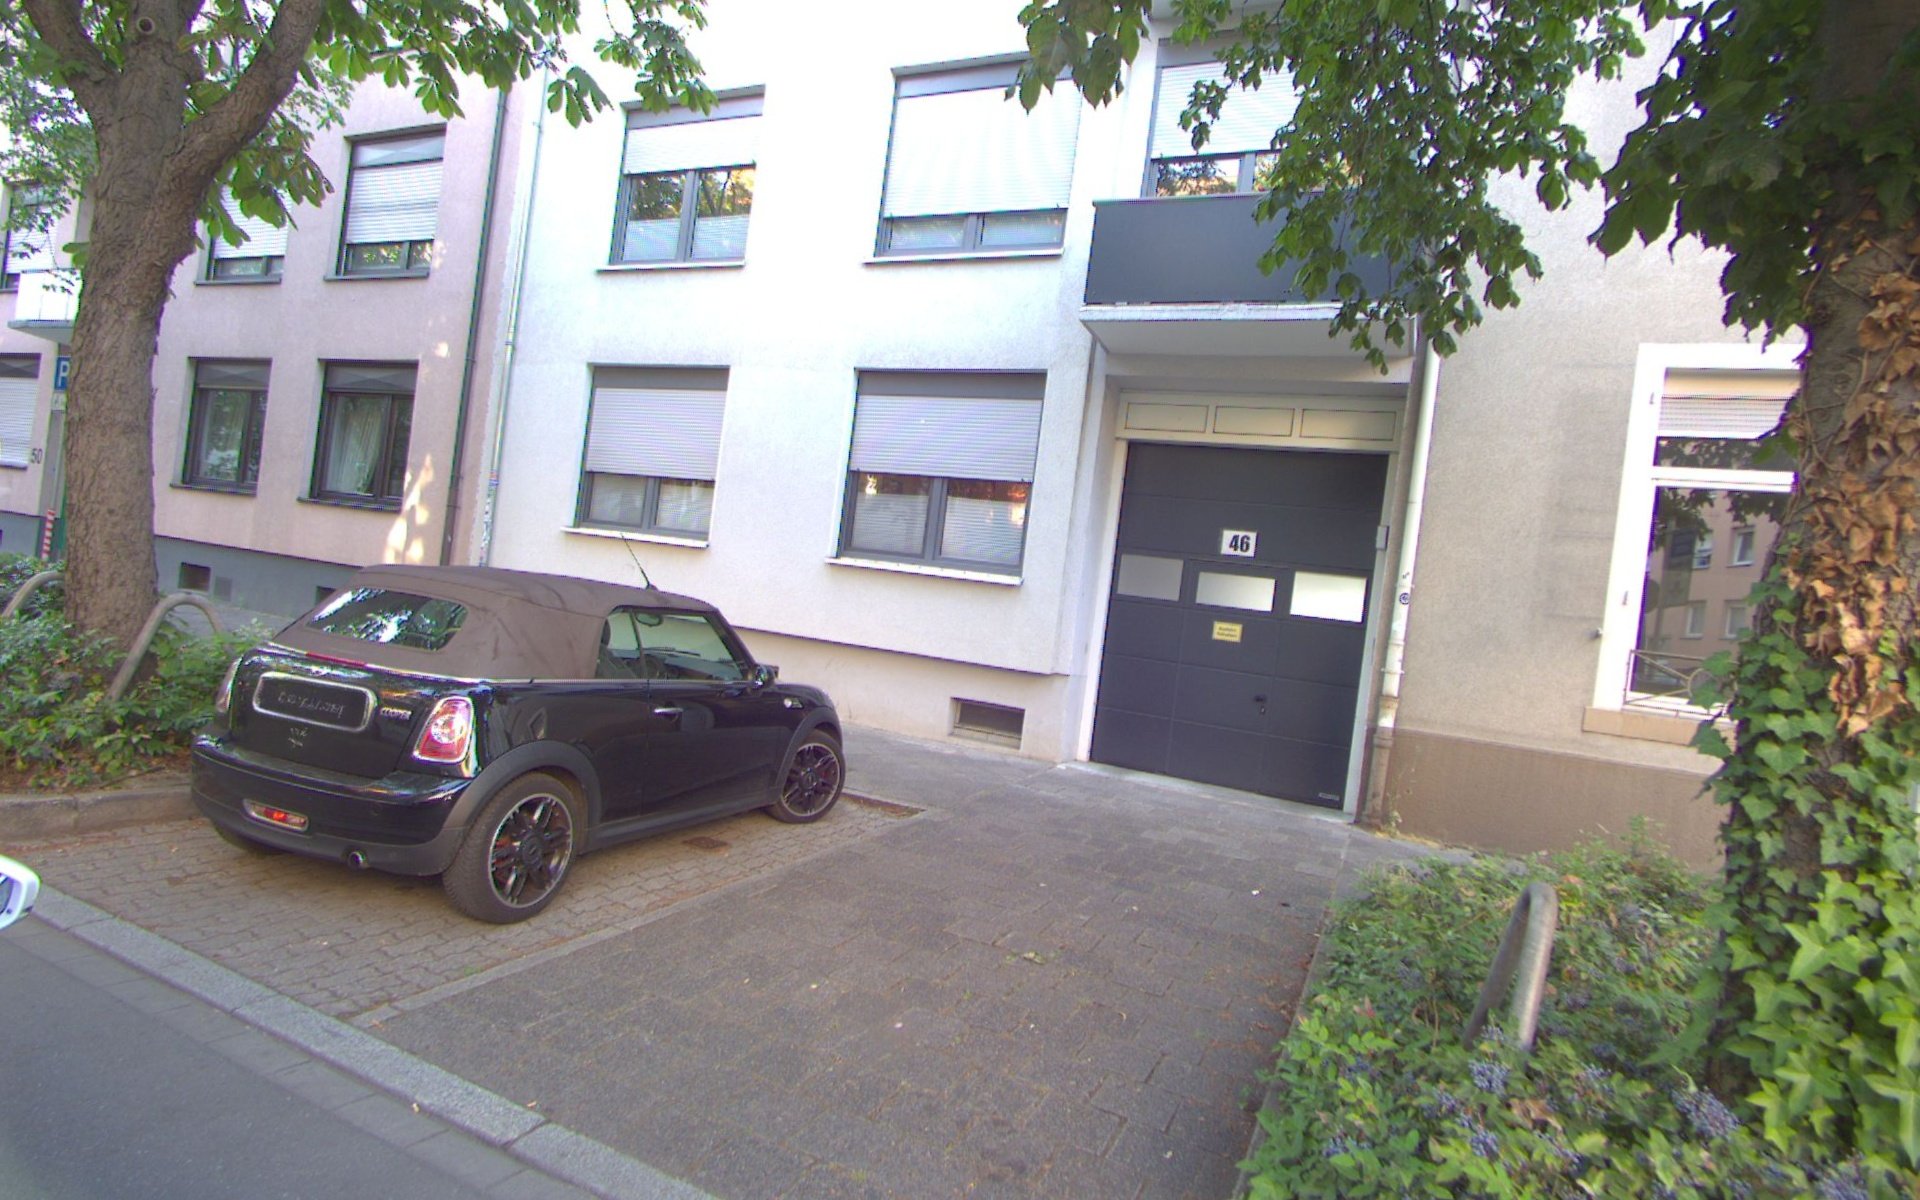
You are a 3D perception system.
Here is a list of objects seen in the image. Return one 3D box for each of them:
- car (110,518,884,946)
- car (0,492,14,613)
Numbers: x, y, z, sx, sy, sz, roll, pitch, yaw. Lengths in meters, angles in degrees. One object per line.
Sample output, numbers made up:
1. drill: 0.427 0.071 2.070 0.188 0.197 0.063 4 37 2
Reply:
1. car: -2.020 0.555 5.528 1.634 1.380 3.622 7 -1 22
2. car: -13.351 -0.799 11.040 1.634 1.494 3.921 7 -1 24
